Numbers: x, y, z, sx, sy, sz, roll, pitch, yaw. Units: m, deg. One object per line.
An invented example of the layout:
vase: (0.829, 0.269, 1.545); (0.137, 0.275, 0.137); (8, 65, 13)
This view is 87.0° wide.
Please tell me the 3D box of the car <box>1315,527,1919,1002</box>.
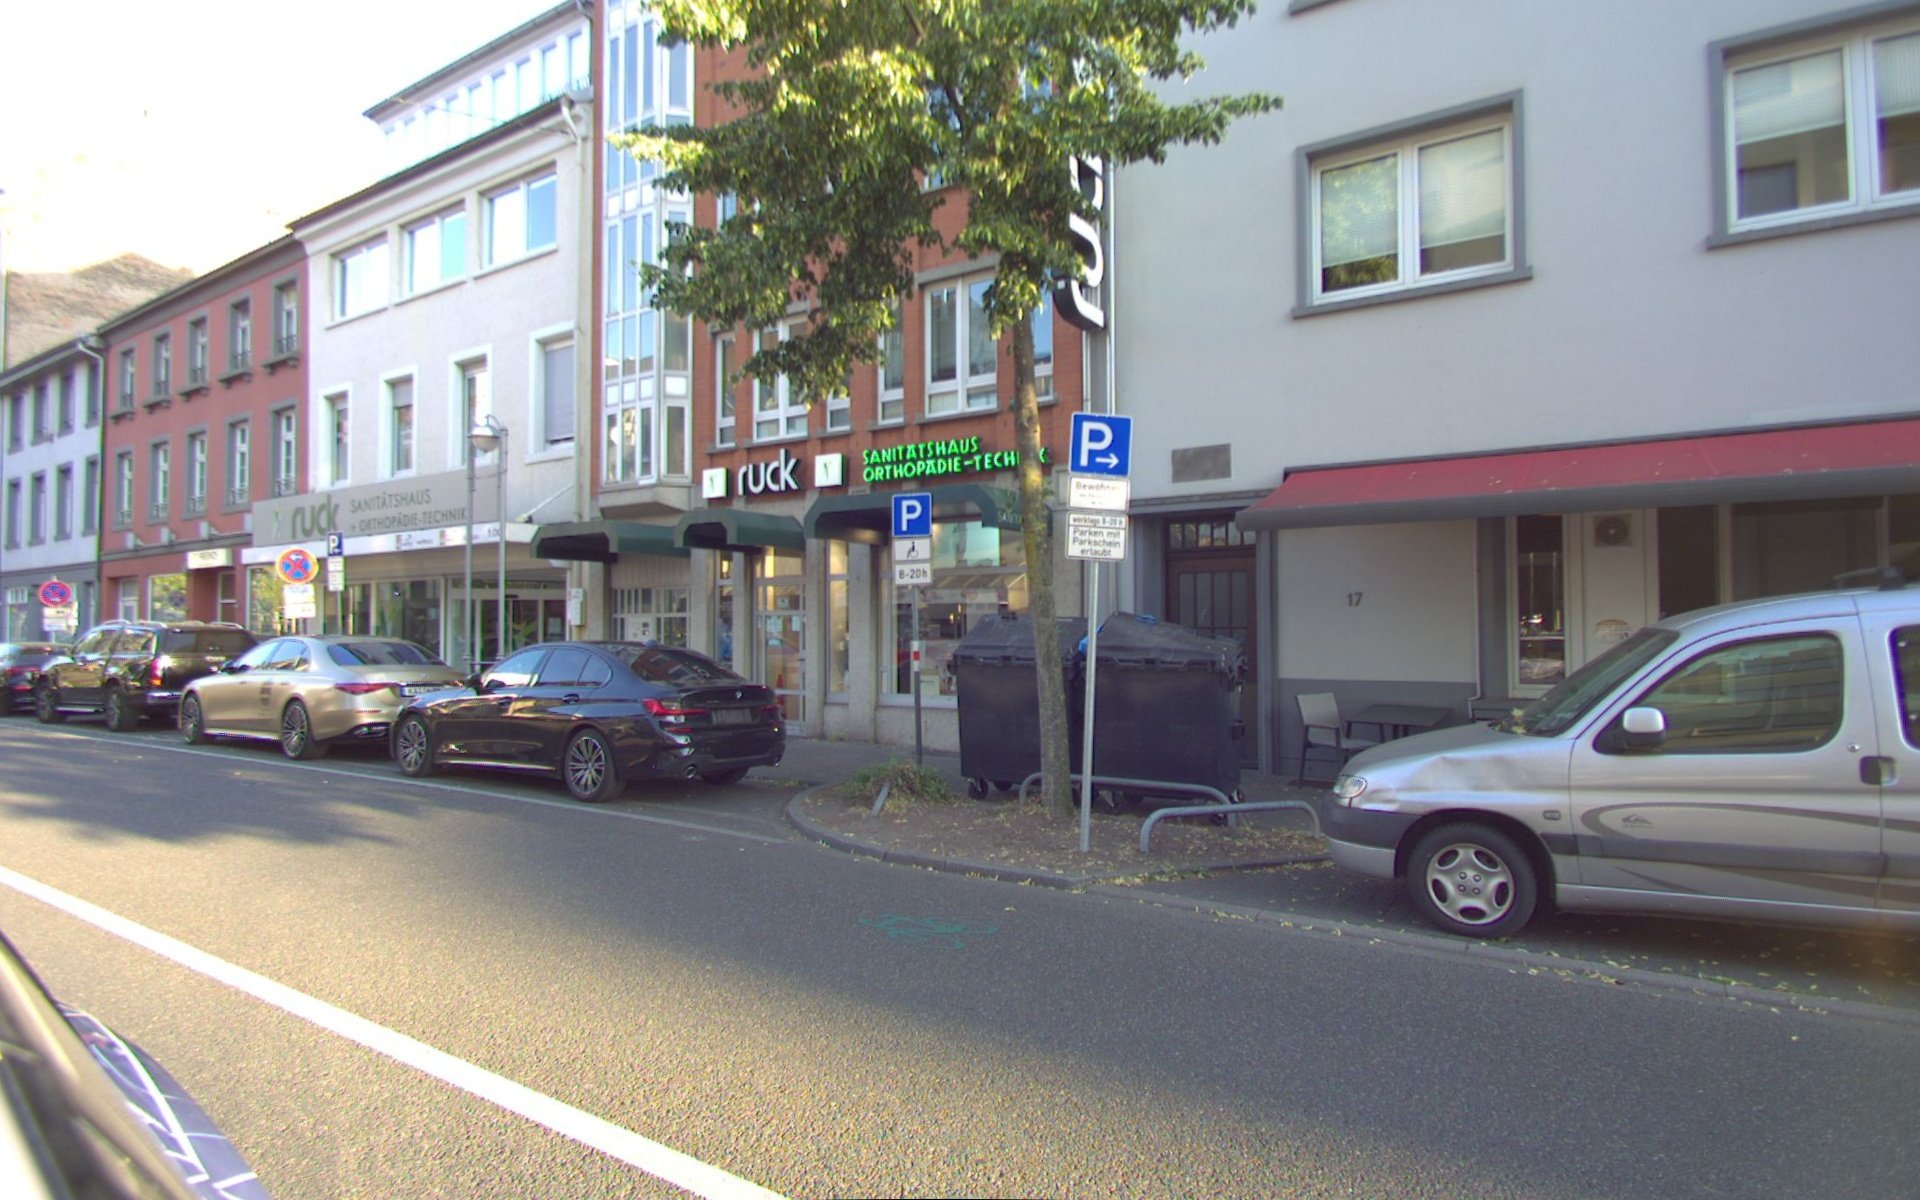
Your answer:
car: (3.998, 0.708, 4.966); (4.038, 1.902, 1.657); (-1, -4, 31)

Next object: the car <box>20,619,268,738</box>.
car: (-14.045, 1.299, 17.341); (4.921, 1.793, 1.708); (-2, -4, 31)

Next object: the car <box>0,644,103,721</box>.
car: (-19.326, 1.641, 20.617); (4.001, 1.448, 1.688); (-2, -5, 32)

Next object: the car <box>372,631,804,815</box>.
car: (-3.853, 1.108, 10.199); (4.528, 1.484, 1.706); (-2, -5, 33)

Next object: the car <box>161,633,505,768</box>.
car: (-8.426, 1.232, 13.439); (5.094, 1.484, 1.977); (-2, -4, 34)

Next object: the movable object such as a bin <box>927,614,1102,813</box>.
movable object such as a bin: (0.488, 0.953, 9.026); (1.331, 1.632, 0.775); (-1, -1, 30)

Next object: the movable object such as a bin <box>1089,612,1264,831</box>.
movable object such as a bin: (1.774, 0.932, 8.279); (1.203, 1.632, 0.775); (-1, 0, 30)
